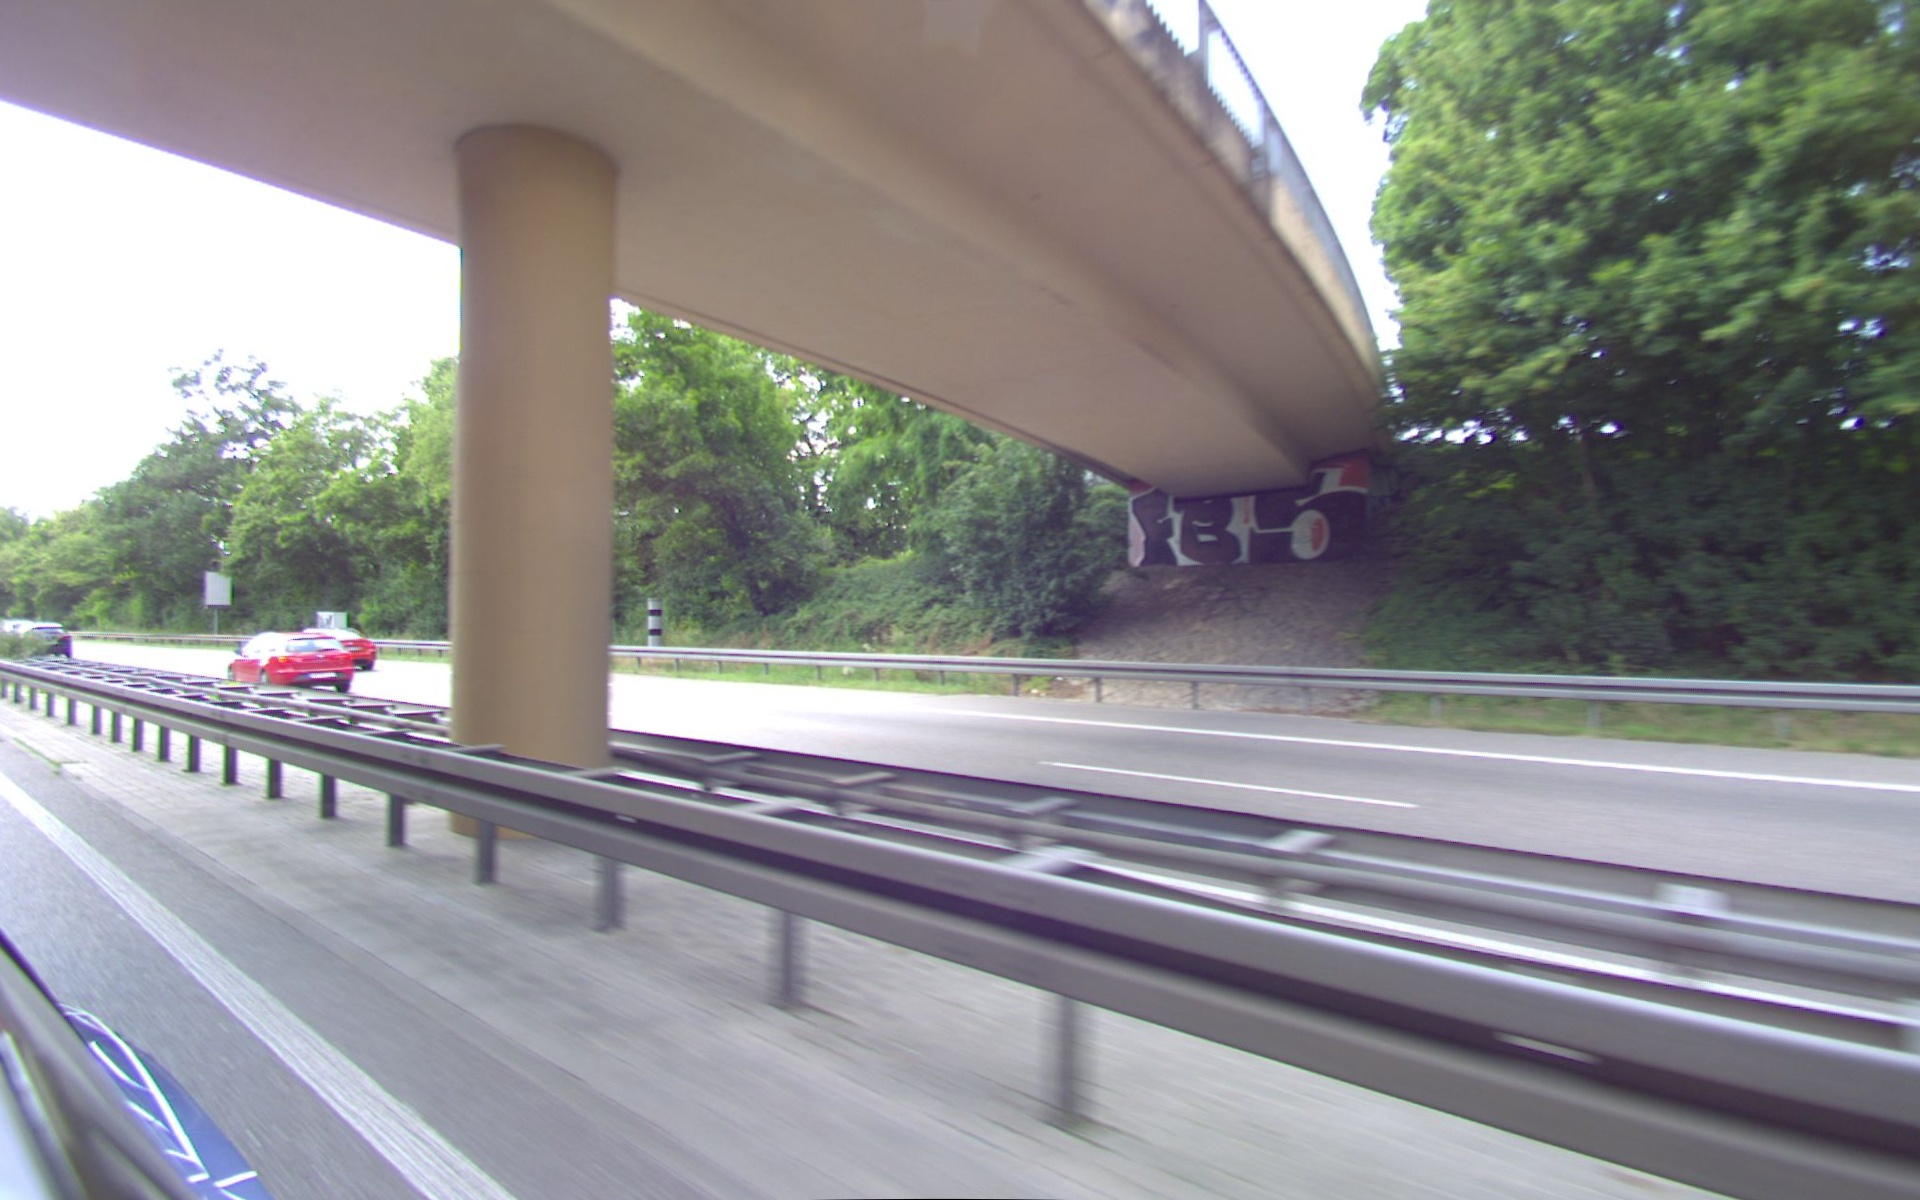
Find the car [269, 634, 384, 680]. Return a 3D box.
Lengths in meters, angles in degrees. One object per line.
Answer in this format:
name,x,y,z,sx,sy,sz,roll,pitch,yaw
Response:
car,-20.943,1.832,33.384,4.802,1.389,1.845,-2,-2,40

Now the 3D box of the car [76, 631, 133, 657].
car,-51.091,2.619,60.420,4.802,1.467,1.845,-2,-2,40

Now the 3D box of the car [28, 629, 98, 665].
car,-42.667,2.207,48.131,4.561,1.601,1.846,-2,-2,40

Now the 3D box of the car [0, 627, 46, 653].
car,-65.922,2.778,71.139,4.876,1.752,1.768,-2,-2,39

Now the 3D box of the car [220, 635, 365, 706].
car,-15.787,1.592,23.866,4.433,1.488,1.668,-2,-2,40
